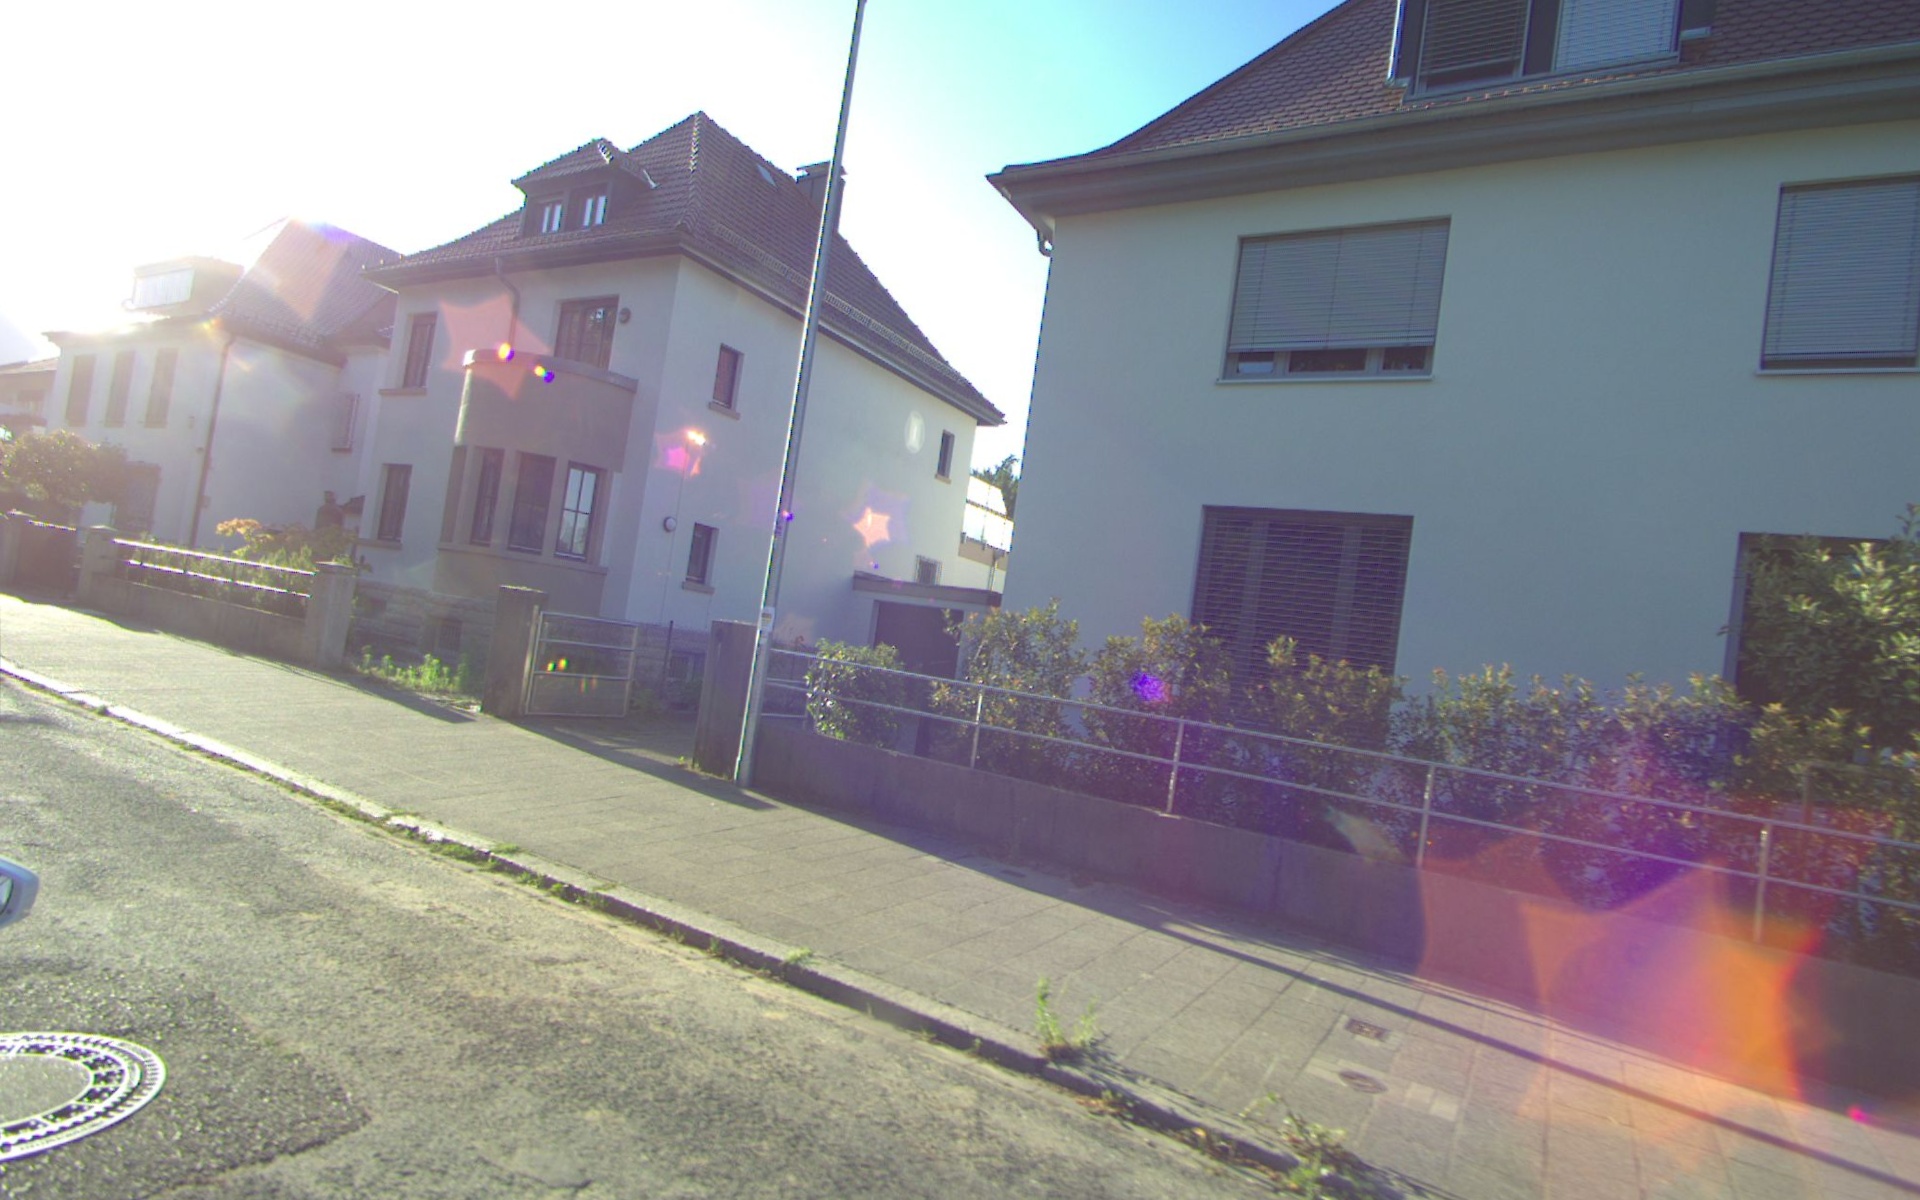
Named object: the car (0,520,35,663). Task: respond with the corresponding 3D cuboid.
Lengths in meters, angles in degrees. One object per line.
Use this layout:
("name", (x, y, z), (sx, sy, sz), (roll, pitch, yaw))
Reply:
("car", (-12.386, -0.451, 10.988), (4.474, 1.478, 2.002), (7, -6, 31))
